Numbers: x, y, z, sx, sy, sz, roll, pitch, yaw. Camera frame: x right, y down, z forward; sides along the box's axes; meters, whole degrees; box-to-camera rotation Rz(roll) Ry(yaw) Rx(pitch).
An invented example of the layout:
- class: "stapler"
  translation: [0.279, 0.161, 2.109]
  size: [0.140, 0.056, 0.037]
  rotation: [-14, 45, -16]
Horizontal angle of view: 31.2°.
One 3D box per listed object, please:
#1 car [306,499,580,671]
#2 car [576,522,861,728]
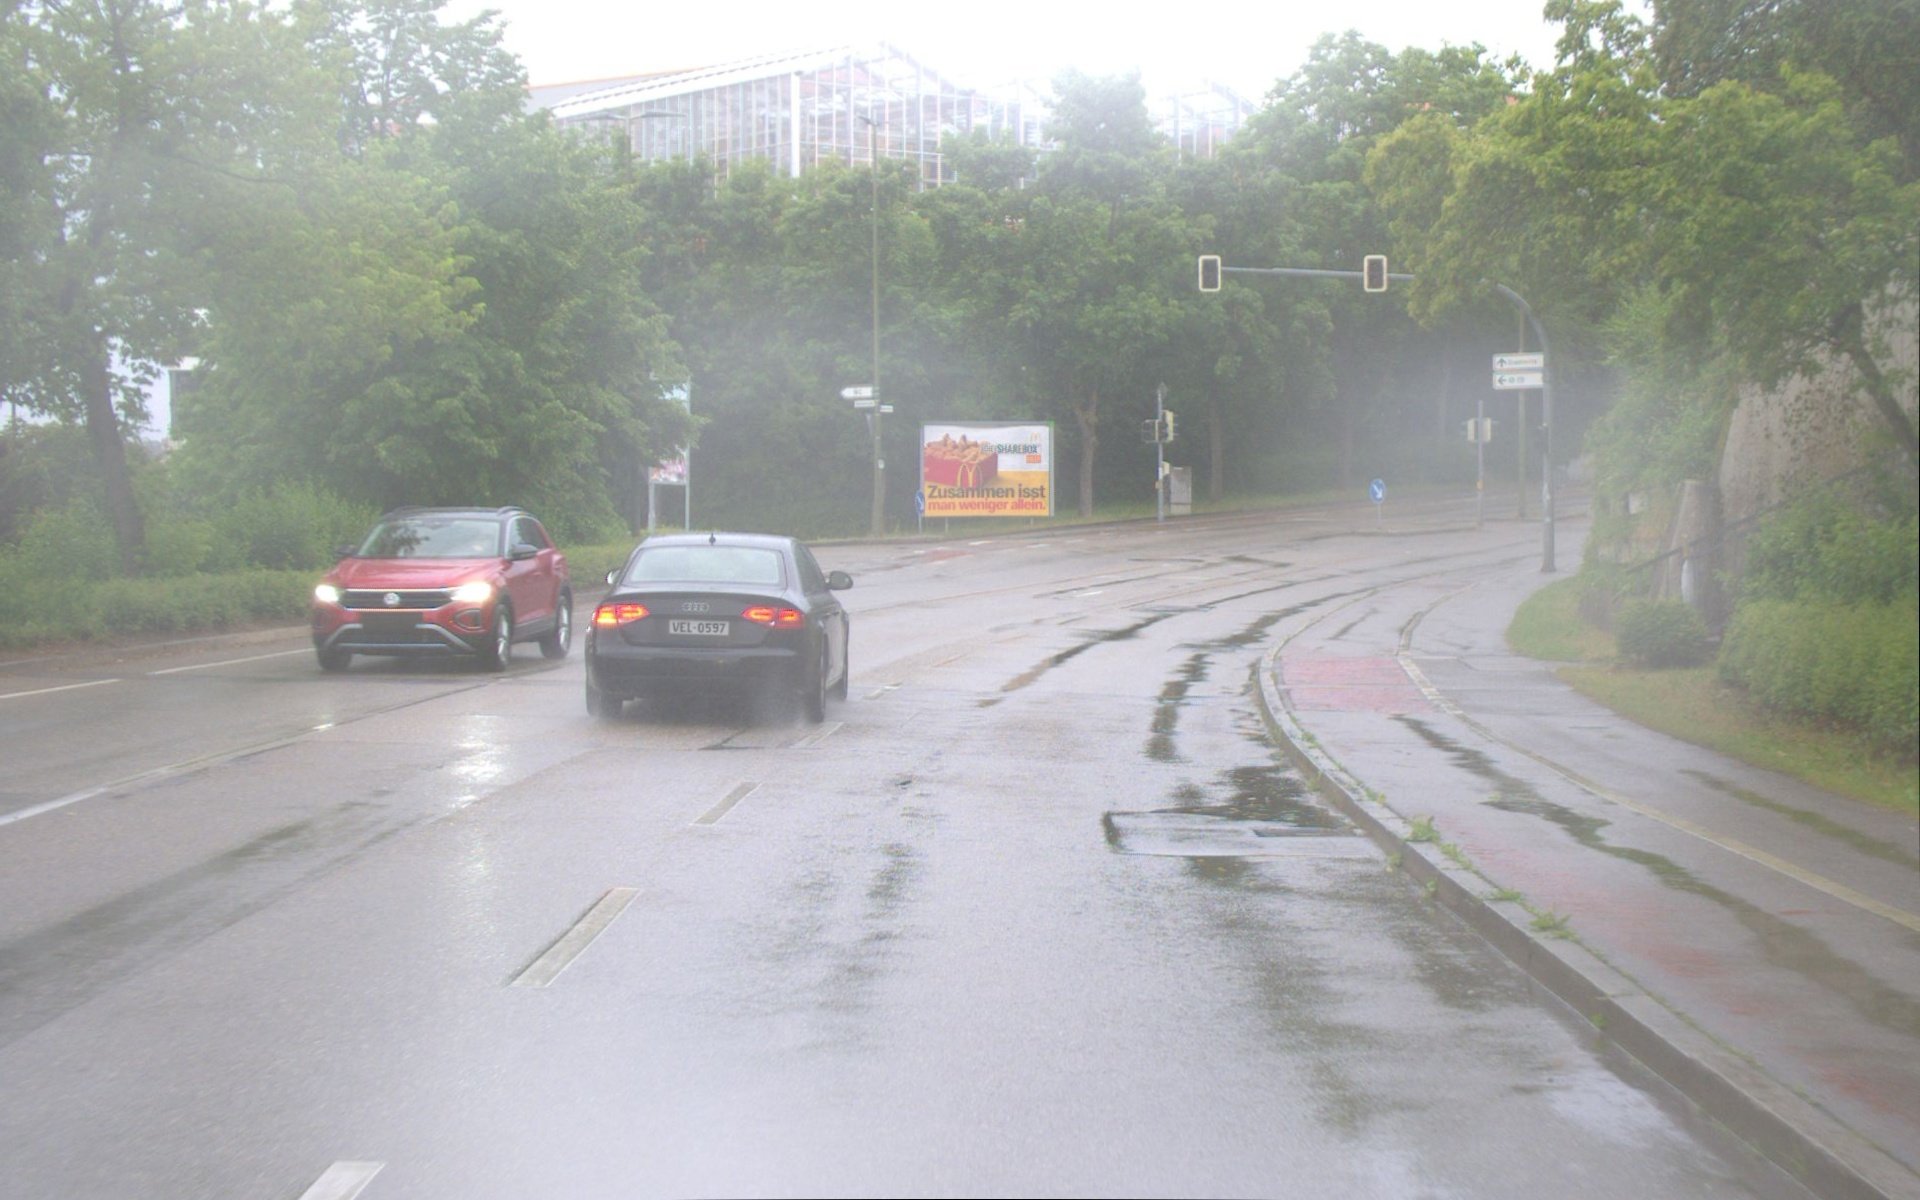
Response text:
- class: "car"
  translation: [-5.000, -0.202, 33.761]
  size: [1.754, 1.530, 4.000]
  rotation: [0, 2, 5]
- class: "car"
  translation: [-1.782, 0.133, 26.509]
  size: [1.755, 1.390, 4.000]
  rotation: [1, 2, 2]
